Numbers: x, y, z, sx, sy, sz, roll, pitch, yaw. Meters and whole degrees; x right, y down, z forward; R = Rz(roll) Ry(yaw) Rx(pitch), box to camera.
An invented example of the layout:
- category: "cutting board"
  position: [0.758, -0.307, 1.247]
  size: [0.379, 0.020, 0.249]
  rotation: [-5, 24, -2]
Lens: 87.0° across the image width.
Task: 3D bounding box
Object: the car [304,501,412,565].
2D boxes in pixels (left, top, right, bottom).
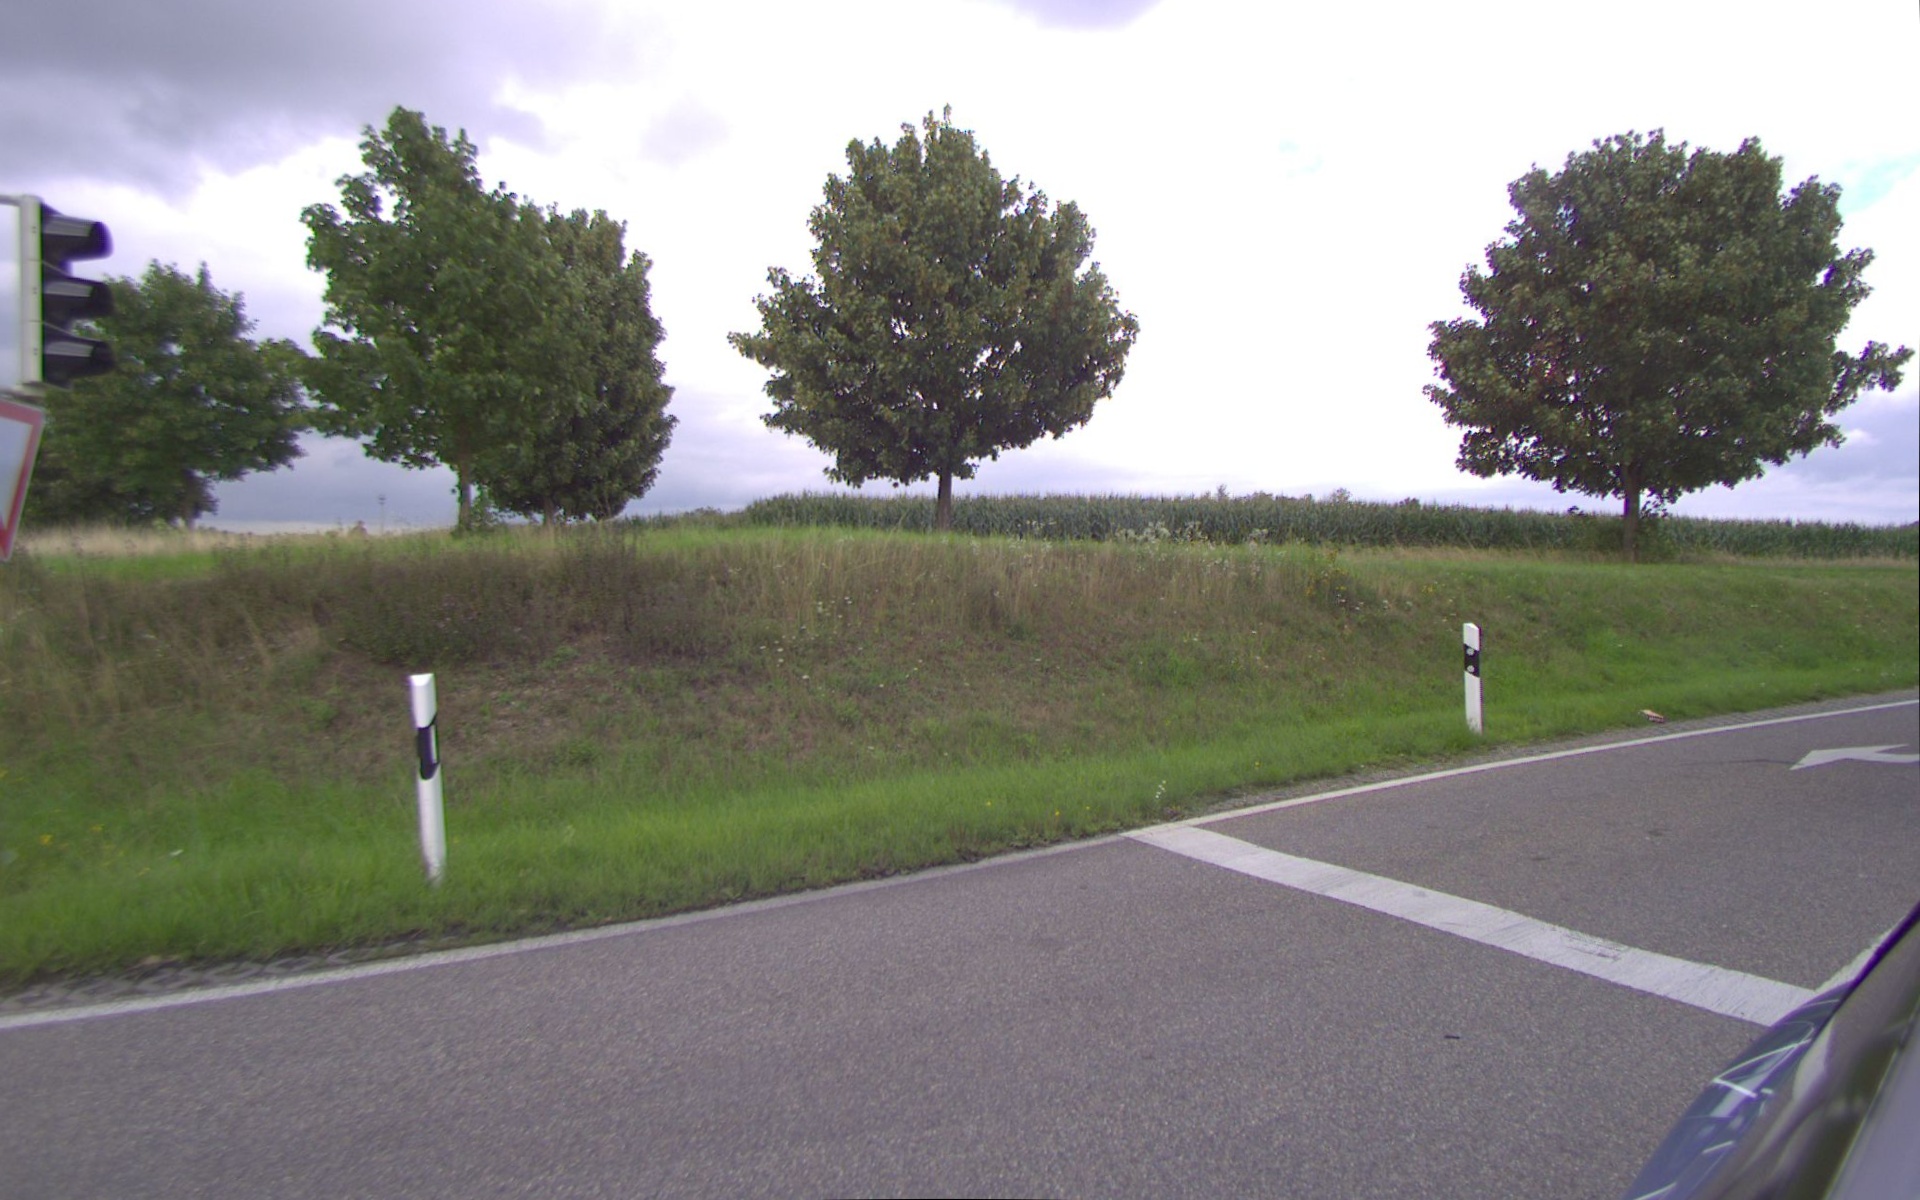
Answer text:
- category: "car"
  position: [-20.808, -2.265, 34.914]
  size: [3.981, 2.038, 1.972]
  rotation: [1, 3, 40]
